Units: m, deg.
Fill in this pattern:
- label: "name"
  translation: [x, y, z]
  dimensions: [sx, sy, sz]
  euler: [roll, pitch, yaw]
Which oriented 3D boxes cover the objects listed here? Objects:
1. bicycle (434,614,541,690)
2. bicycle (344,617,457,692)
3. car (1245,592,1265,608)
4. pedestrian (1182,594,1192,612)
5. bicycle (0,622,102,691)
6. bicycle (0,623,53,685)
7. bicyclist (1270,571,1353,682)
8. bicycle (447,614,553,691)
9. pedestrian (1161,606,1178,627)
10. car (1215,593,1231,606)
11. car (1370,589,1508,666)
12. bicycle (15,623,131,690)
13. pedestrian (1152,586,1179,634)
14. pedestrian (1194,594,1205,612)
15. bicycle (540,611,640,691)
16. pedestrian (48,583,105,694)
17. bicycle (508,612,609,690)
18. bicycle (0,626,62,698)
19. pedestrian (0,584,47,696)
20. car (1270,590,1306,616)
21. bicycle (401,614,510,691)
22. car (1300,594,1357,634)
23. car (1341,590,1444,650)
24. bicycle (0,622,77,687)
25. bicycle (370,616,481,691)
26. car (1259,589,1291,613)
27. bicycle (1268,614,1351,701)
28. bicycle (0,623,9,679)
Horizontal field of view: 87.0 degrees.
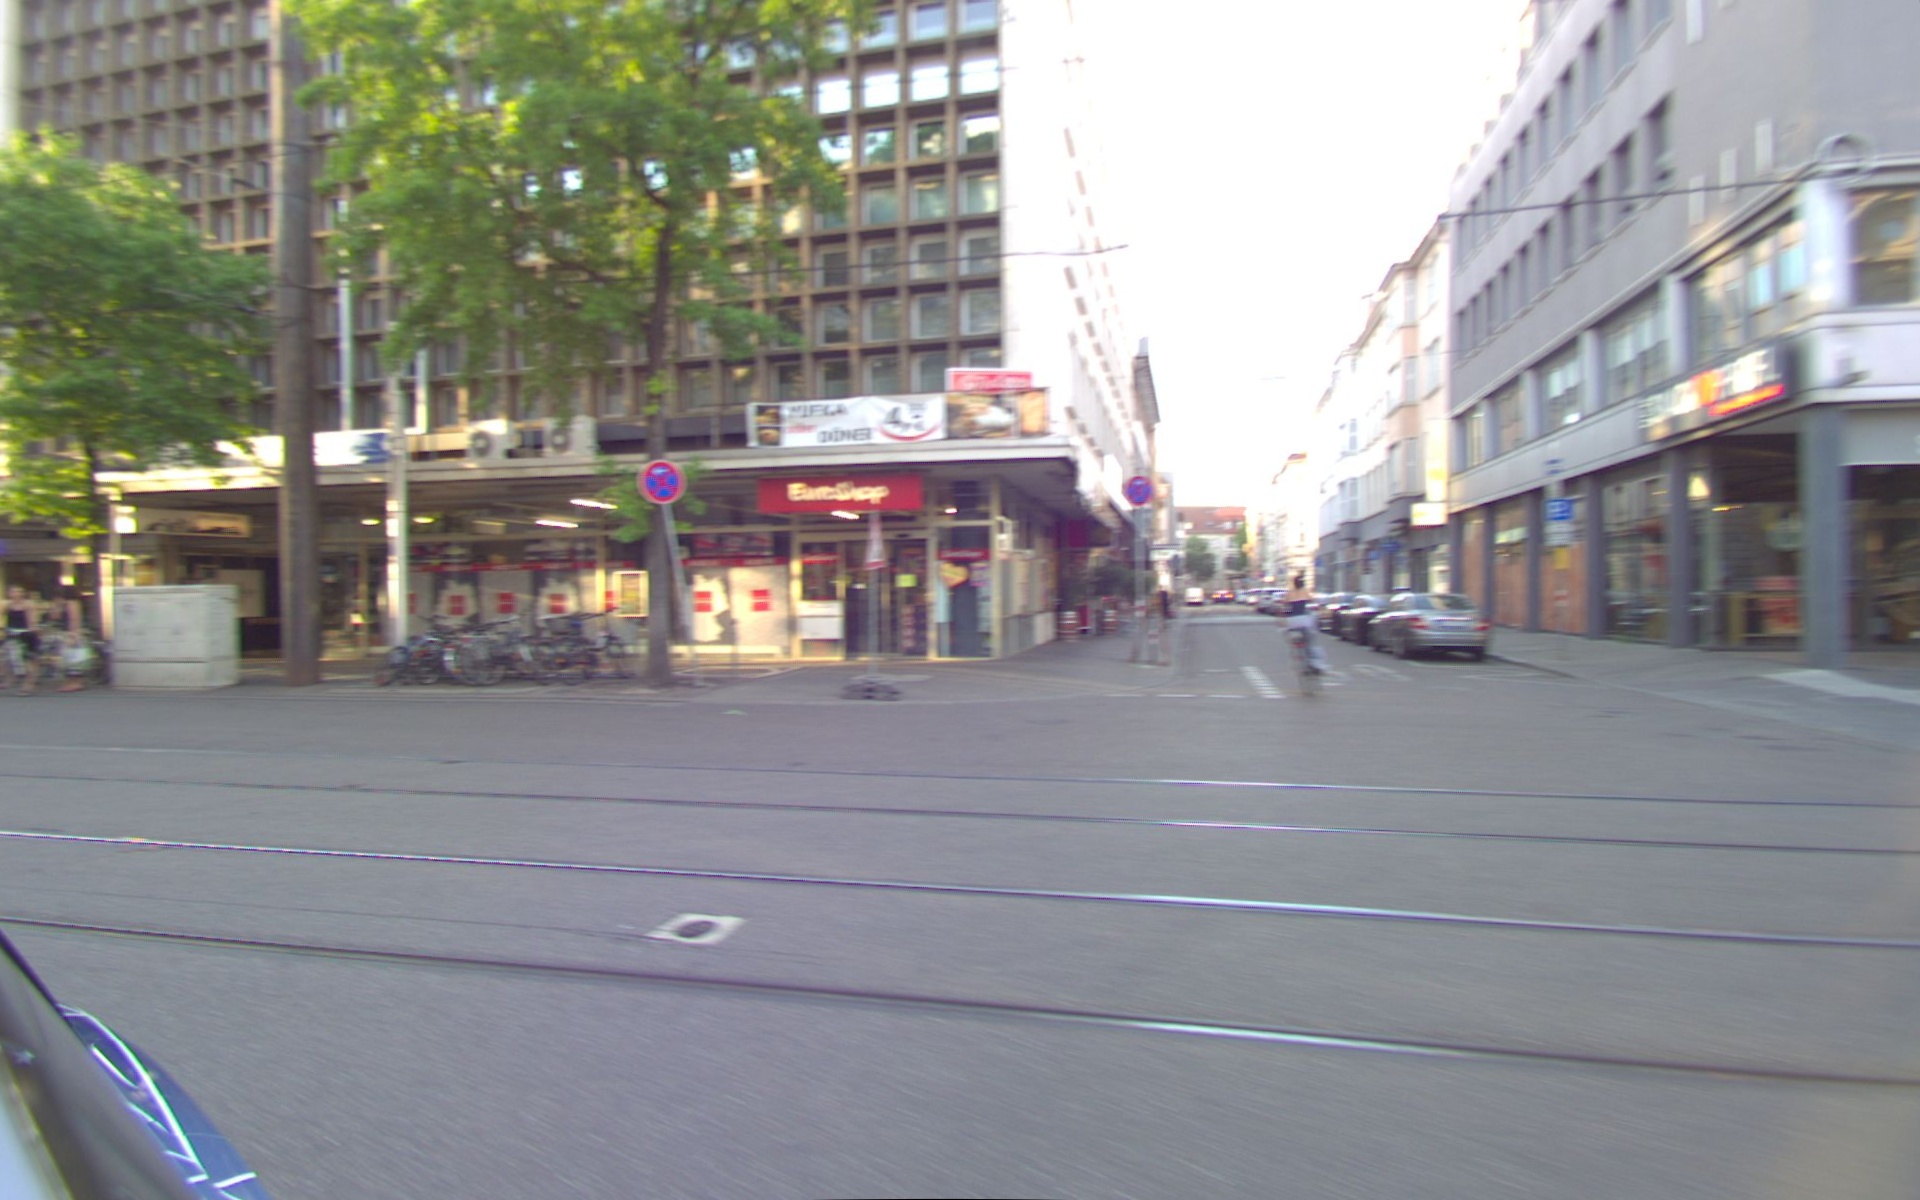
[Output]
- label: "bicycle"
  translation: [-7.374, 0.786, 15.876]
  dimensions: [0.485, 1.053, 1.770]
  euler: [-2, 1, 14]
- label: "bicycle"
  translation: [-8.950, 0.844, 16.271]
  dimensions: [0.485, 1.053, 1.770]
  euler: [-2, 1, 14]
- label: "car"
  translation: [29.098, 0.023, 99.774]
  dimensions: [1.783, 1.521, 3.981]
  euler: [0, 0, 15]
- label: "pedestrian"
  translation: [22.466, 0.303, 100.038]
  dimensions: [0.863, 1.674, 0.927]
  euler: [-2, 0, 14]
- label: "bicycle"
  translation: [-16.644, 1.000, 18.327]
  dimensions: [0.484, 1.079, 1.773]
  euler: [-2, 2, 8]
- label: "bicycle"
  translation: [-17.803, 1.014, 18.582]
  dimensions: [0.484, 1.079, 1.773]
  euler: [-2, 2, 8]
- label: "bicyclist"
  translation: [5.002, 0.353, 14.386]
  dimensions: [0.995, 1.513, 0.849]
  euler: [0, 0, 28]
- label: "bicycle"
  translation: [-7.142, 0.792, 15.813]
  dimensions: [0.485, 1.053, 1.770]
  euler: [-2, 1, 14]
- label: "pedestrian"
  translation: [17.717, 1.385, 85.707]
  dimensions: [1.288, 1.674, 1.009]
  euler: [-1, 0, 16]
- label: "car"
  translation: [31.007, -0.110, 119.258]
  dimensions: [1.783, 1.521, 3.981]
  euler: [0, 0, 15]
- label: "car"
  translation: [10.417, 0.540, 22.334]
  dimensions: [1.781, 1.521, 4.119]
  euler: [0, 0, 11]
- label: "bicycle"
  translation: [-14.930, 0.949, 17.037]
  dimensions: [1.759, 1.053, 0.488]
  euler: [-2, 0, 12]
- label: "pedestrian"
  translation: [7.456, 0.357, 36.696]
  dimensions: [0.864, 1.674, 0.926]
  euler: [-2, 0, 17]
- label: "pedestrian"
  translation: [23.601, 0.288, 99.812]
  dimensions: [0.968, 1.674, 0.974]
  euler: [-2, 0, 14]
- label: "bicycle"
  translation: [-5.578, 0.744, 15.366]
  dimensions: [0.485, 1.053, 1.770]
  euler: [-2, 1, 14]
- label: "pedestrian"
  translation: [-14.094, 0.599, 16.148]
  dimensions: [0.536, 1.712, 0.594]
  euler: [-1, 0, 43]
- label: "bicycle"
  translation: [-6.126, 0.750, 15.547]
  dimensions: [0.485, 1.053, 1.770]
  euler: [-2, 1, 14]
- label: "bicycle"
  translation: [-14.829, 0.963, 15.609]
  dimensions: [1.759, 1.053, 0.488]
  euler: [-2, 0, 12]
- label: "pedestrian"
  translation: [-14.732, 0.613, 15.831]
  dimensions: [0.536, 1.712, 0.594]
  euler: [-1, 0, 43]
- label: "car"
  translation: [19.441, 0.168, 60.154]
  dimensions: [1.783, 1.521, 3.981]
  euler: [0, 0, 15]
- label: "bicycle"
  translation: [-7.933, 0.801, 15.999]
  dimensions: [0.485, 1.053, 1.770]
  euler: [-2, 1, 14]
- label: "car"
  translation: [14.658, 0.514, 40.444]
  dimensions: [1.783, 1.521, 3.981]
  euler: [0, 0, 15]
- label: "car"
  translation: [11.877, 0.505, 28.068]
  dimensions: [1.781, 1.521, 4.119]
  euler: [0, 0, 11]
- label: "bicycle"
  translation: [-17.268, 1.007, 18.499]
  dimensions: [0.484, 1.079, 1.773]
  euler: [-2, 2, 8]
- label: "bicycle"
  translation: [-8.480, 0.825, 16.144]
  dimensions: [0.485, 1.053, 1.770]
  euler: [-2, 1, 14]
- label: "car"
  translation: [20.607, 0.063, 66.271]
  dimensions: [1.783, 1.521, 3.981]
  euler: [0, 0, 15]
- label: "bicycle"
  translation: [4.990, 0.768, 14.358]
  dimensions: [0.814, 1.081, 2.094]
  euler: [0, 0, 27]
- label: "bicycle"
  translation: [-18.964, 1.026, 18.919]
  dimensions: [0.484, 1.079, 1.773]
  euler: [-2, 2, 8]
